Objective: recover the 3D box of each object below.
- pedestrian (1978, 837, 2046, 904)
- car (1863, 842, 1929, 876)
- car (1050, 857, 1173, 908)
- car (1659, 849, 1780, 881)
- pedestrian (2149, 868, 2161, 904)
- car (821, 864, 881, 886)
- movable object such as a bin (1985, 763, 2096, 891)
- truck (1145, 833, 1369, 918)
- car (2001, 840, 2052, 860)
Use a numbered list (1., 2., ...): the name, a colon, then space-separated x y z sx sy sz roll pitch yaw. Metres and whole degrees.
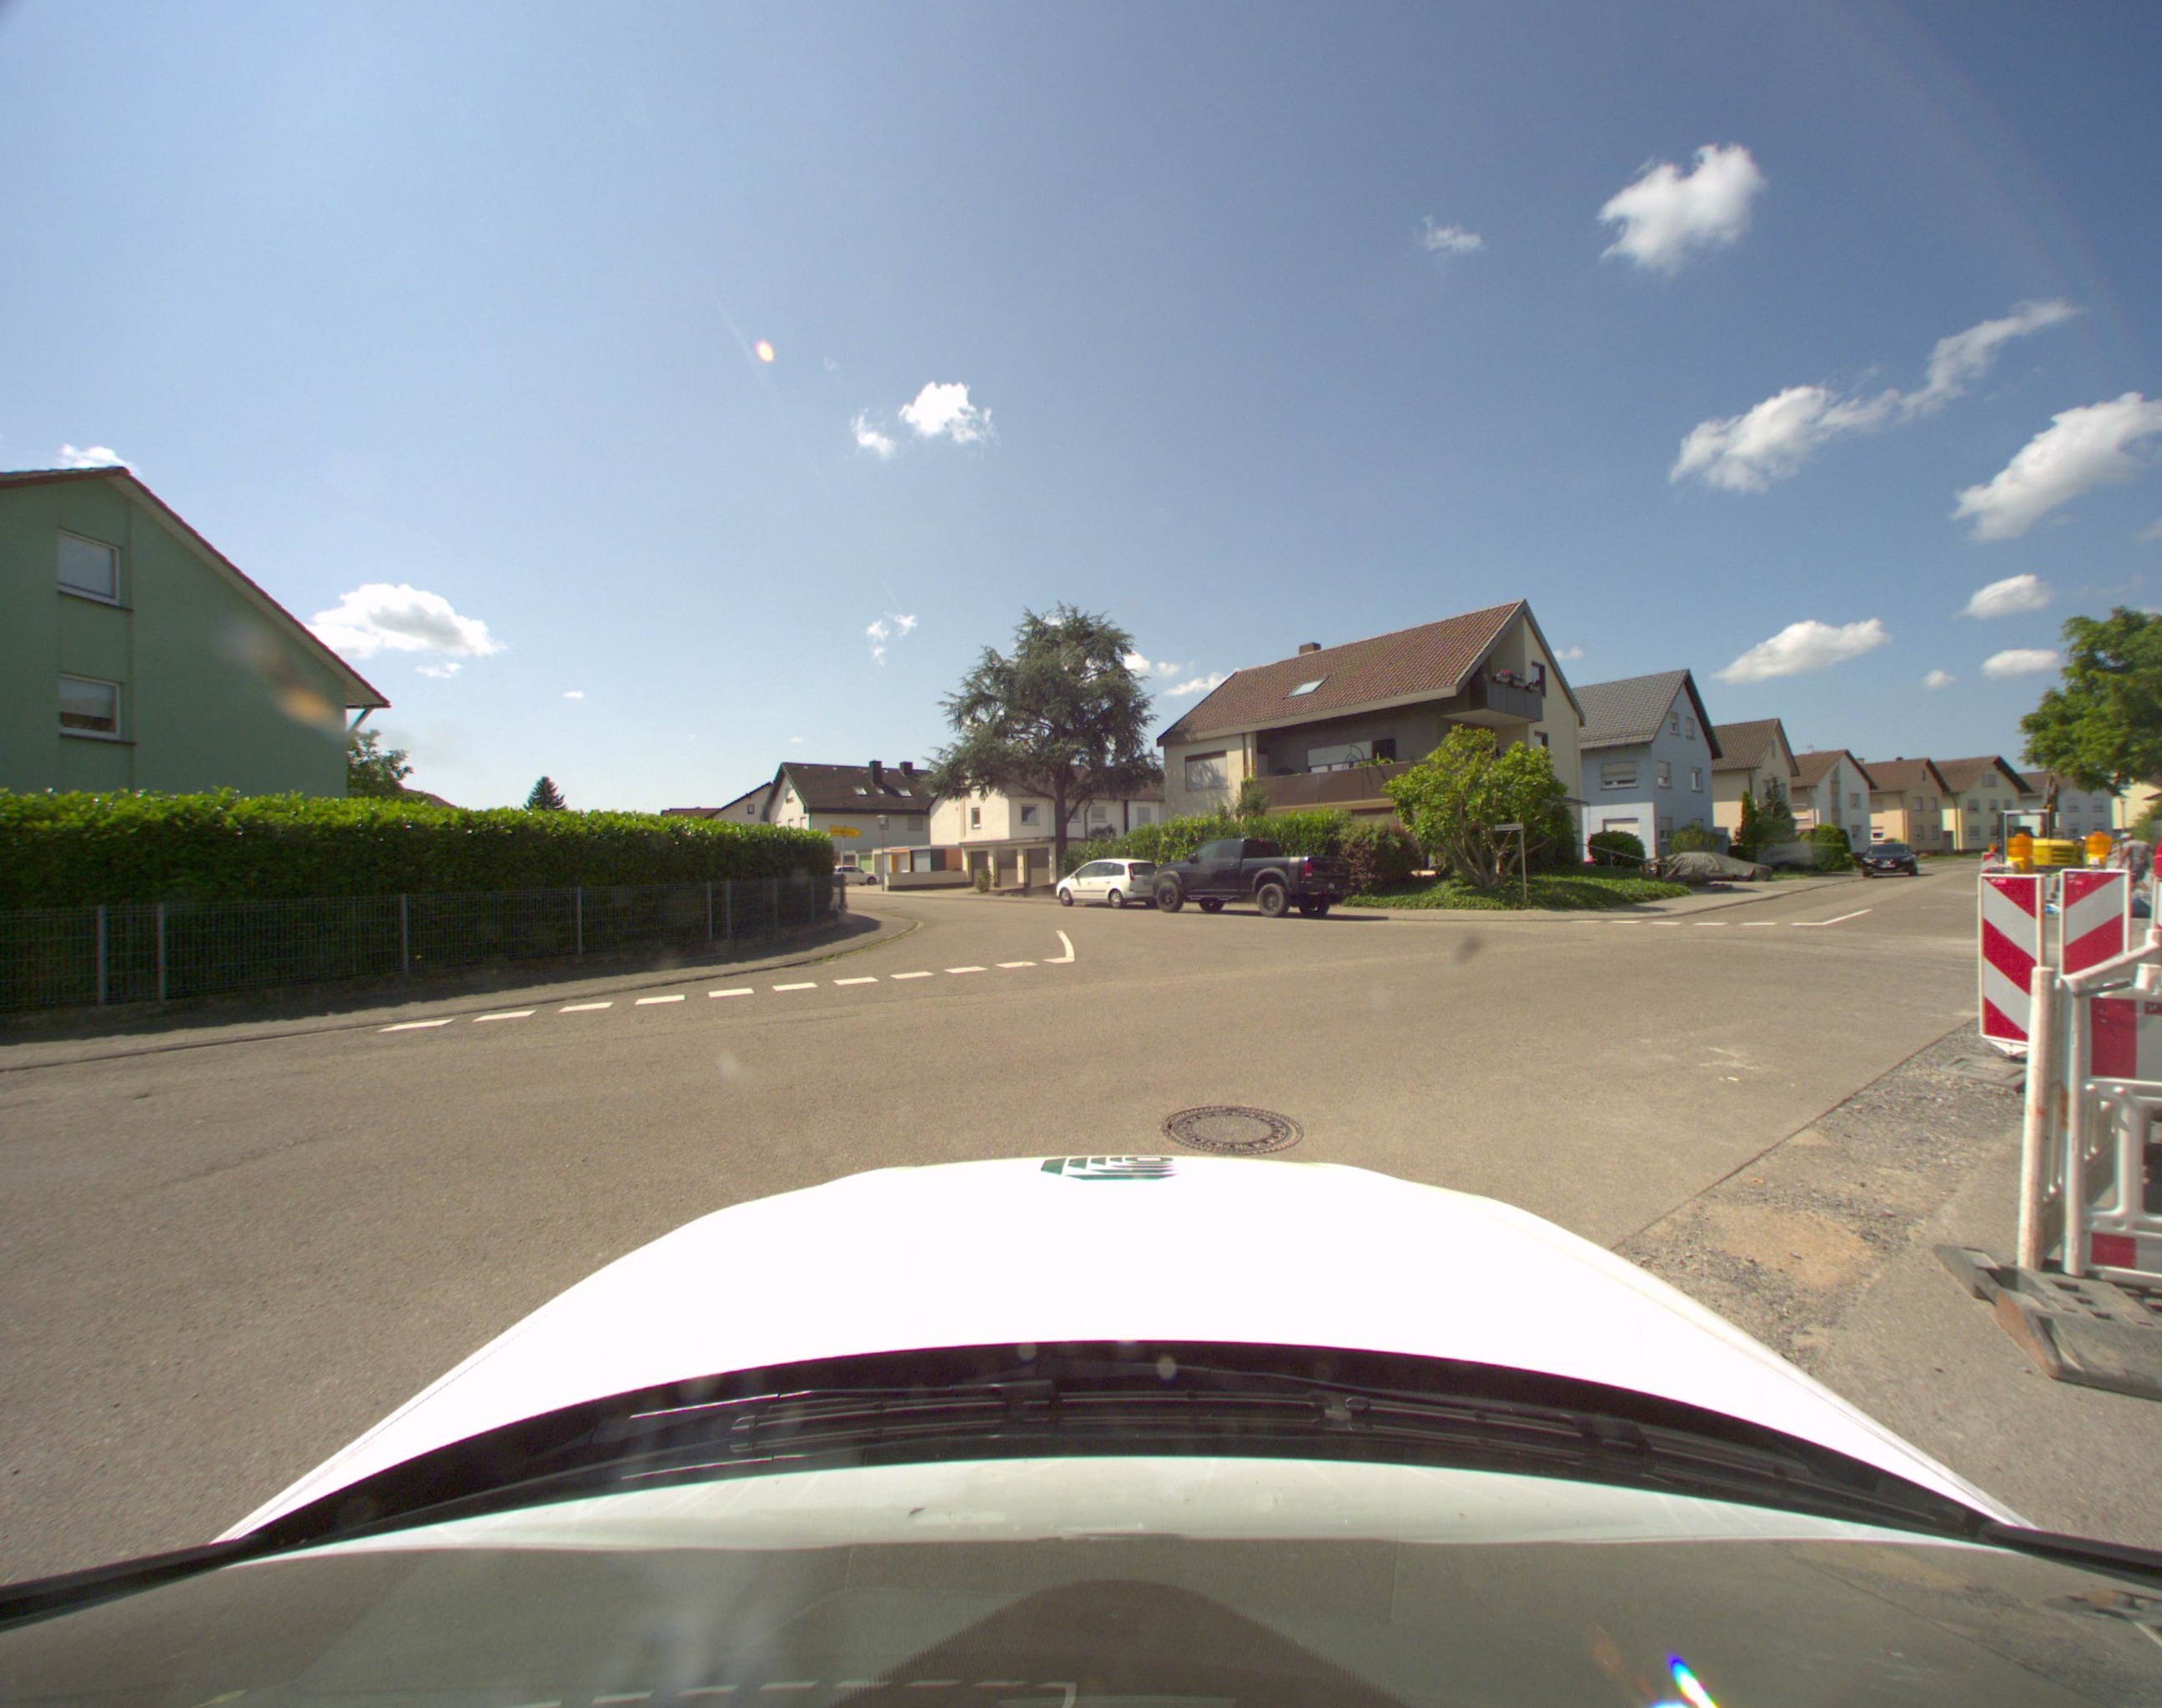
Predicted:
1. pedestrian: 21.669 0.391 18.965 0.843 1.514 0.534 -2 -1 9
2. car: 39.255 0.222 39.218 4.021 1.542 1.897 -1 -1 -40
3. car: 0.949 0.935 27.433 1.813 1.563 4.094 -1 -1 -41
4. car: 28.731 0.490 36.721 2.010 1.342 3.953 -1 -1 -40
5. pedestrian: 24.550 0.715 18.301 0.516 0.793 0.434 -3 -1 28
6. car: -15.898 1.464 56.394 3.629 1.408 1.763 -1 -1 -38
7. movable object such as a bin: 29.169 -0.762 24.743 3.834 3.565 1.977 -1 -1 -38
8. truck: 4.610 0.599 22.166 2.384 2.014 5.644 1 -2 -41
9. car: 83.296 -0.392 71.745 4.007 1.650 1.952 -1 -1 -25
